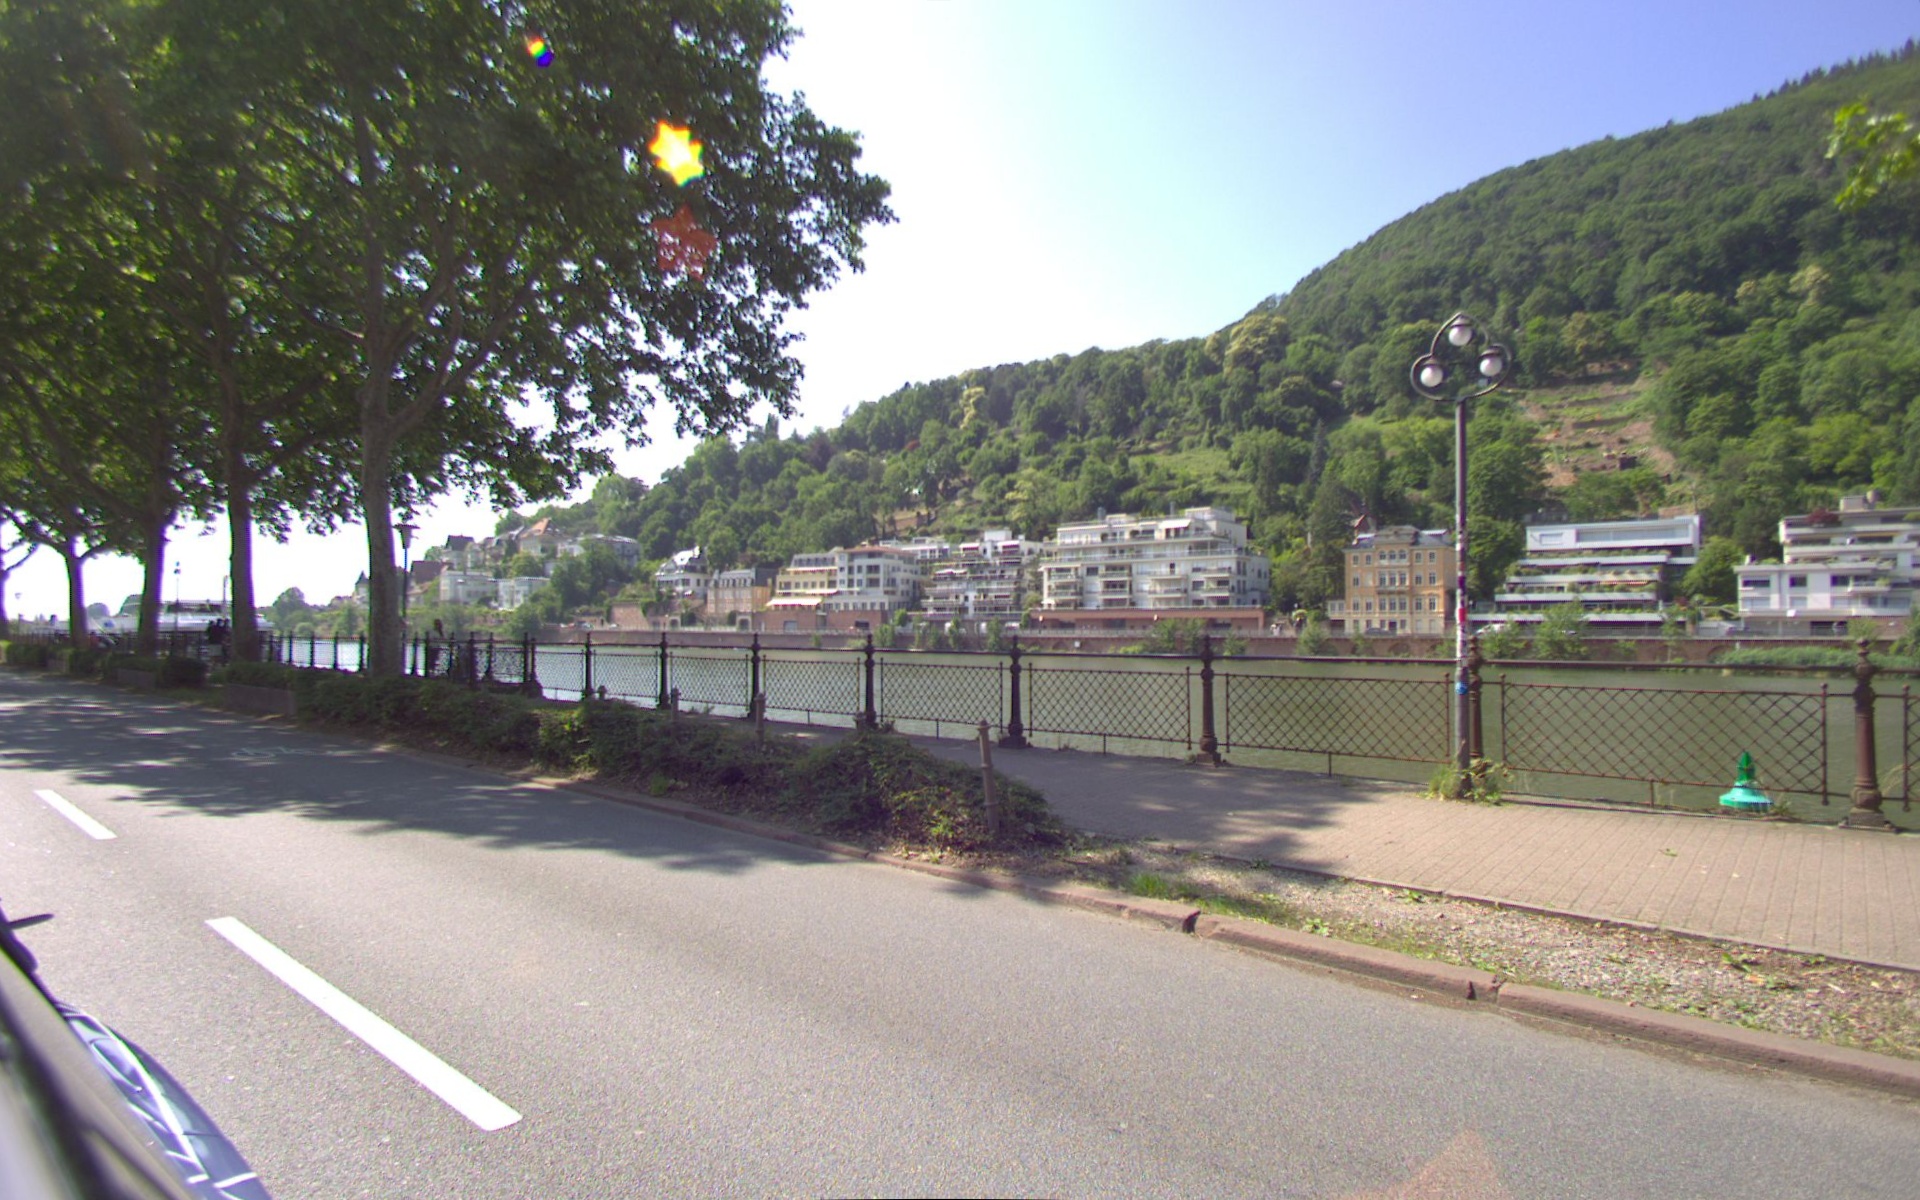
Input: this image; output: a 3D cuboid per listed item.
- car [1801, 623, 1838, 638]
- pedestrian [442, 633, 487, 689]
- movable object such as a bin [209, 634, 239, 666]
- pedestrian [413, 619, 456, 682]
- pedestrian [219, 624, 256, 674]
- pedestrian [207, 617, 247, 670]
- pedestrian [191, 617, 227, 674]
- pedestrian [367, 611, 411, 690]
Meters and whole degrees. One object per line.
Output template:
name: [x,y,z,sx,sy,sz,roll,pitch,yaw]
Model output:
car: [125.472,4.493,147.762,3.998,2.029,1.973,-4,-2,41]
pedestrian: [-12.636,1.552,25.821,0.770,1.398,0.758,-2,-3,40]
movable object such as a bin: [-25.504,1.711,35.069,0.783,1.057,0.694,-1,0,44]
pedestrian: [-15.047,1.435,28.993,0.829,1.771,0.767,-2,-4,40]
pedestrian: [-24.816,1.661,34.744,0.885,1.647,1.060,0,0,-44]
pedestrian: [-29.254,1.717,40.404,1.032,2.029,1.038,-1,0,-19]
pedestrian: [-25.303,1.517,34.102,0.928,1.863,0.796,-1,0,41]
pedestrian: [-14.243,1.253,25.227,0.756,1.915,0.771,3,-4,-42]
